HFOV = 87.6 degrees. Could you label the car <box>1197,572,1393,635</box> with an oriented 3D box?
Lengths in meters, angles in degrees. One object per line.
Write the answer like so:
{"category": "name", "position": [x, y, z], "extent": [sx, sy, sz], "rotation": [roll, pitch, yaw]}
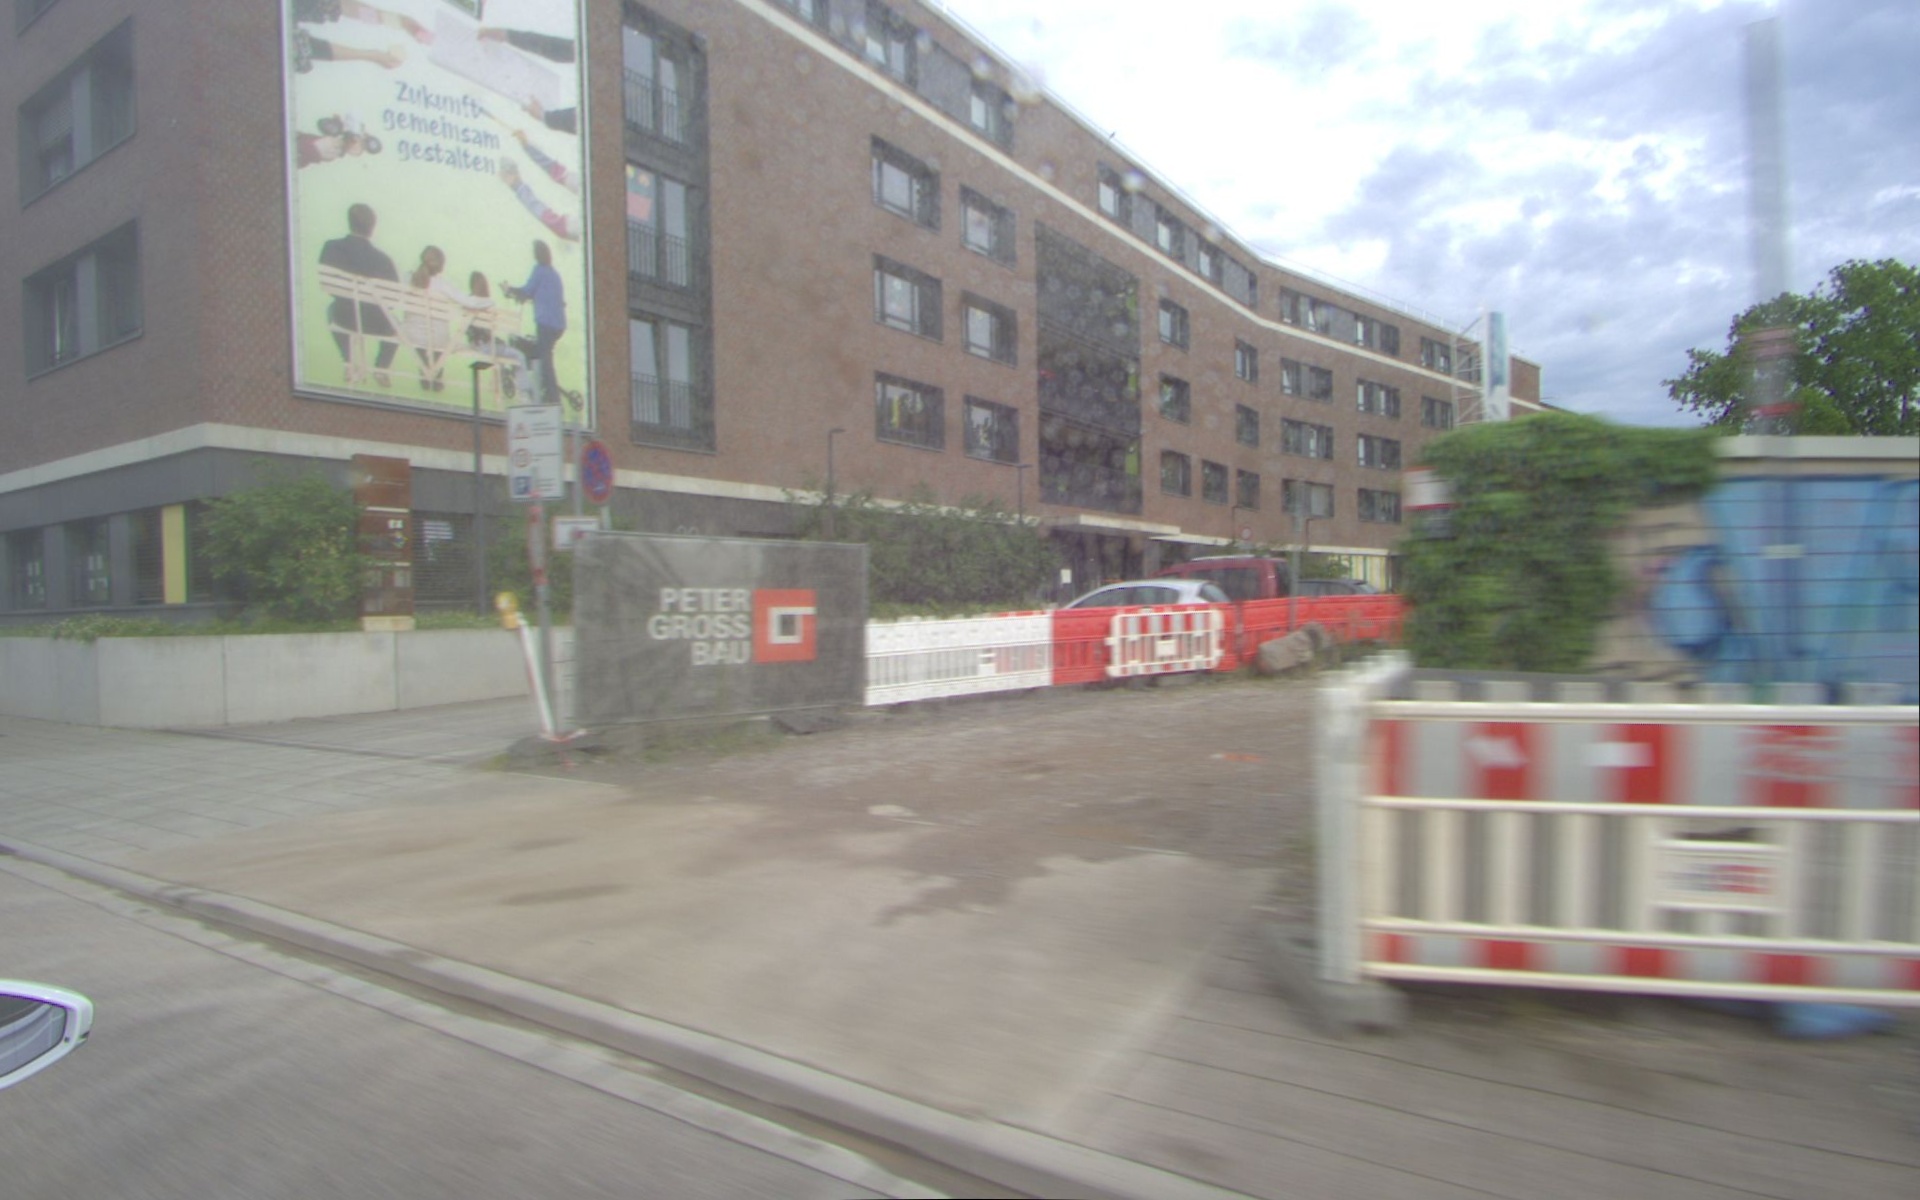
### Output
{"category": "car", "position": [8.261, 0.104, 24.846], "extent": [4.291, 1.437, 1.756], "rotation": [-1, 1, 37]}

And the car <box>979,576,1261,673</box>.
{"category": "car", "position": [2.623, 0.393, 16.675], "extent": [4.282, 1.437, 1.760], "rotation": [-1, 1, 30]}

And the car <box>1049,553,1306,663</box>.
{"category": "car", "position": [4.093, 0.152, 18.957], "extent": [4.355, 1.870, 1.919], "rotation": [-1, 1, 31]}
